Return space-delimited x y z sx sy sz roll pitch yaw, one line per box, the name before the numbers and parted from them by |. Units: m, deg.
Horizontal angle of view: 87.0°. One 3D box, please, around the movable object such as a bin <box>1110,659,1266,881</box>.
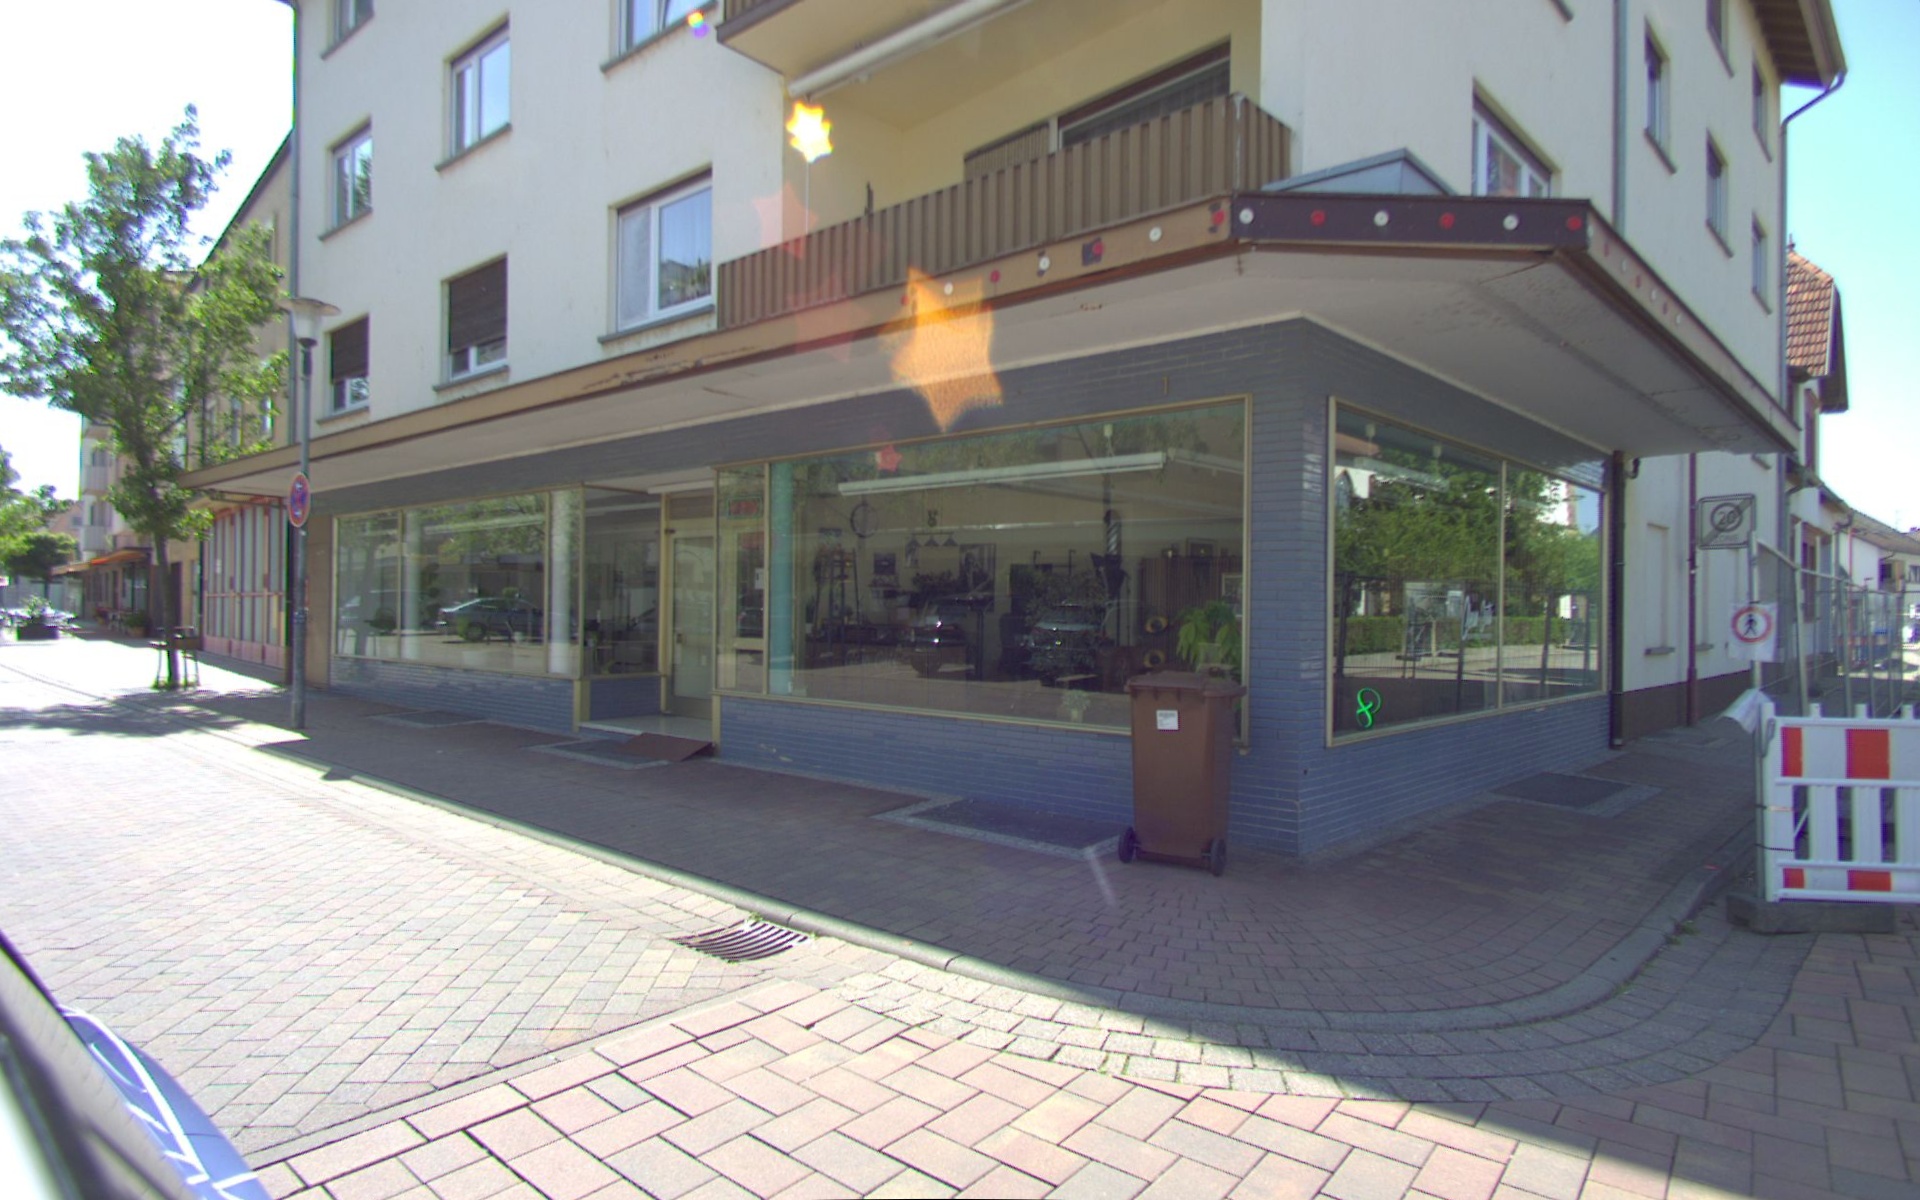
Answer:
movable object such as a bin | 1.275 0.897 5.631 0.662 1.078 0.650 0 0 33
